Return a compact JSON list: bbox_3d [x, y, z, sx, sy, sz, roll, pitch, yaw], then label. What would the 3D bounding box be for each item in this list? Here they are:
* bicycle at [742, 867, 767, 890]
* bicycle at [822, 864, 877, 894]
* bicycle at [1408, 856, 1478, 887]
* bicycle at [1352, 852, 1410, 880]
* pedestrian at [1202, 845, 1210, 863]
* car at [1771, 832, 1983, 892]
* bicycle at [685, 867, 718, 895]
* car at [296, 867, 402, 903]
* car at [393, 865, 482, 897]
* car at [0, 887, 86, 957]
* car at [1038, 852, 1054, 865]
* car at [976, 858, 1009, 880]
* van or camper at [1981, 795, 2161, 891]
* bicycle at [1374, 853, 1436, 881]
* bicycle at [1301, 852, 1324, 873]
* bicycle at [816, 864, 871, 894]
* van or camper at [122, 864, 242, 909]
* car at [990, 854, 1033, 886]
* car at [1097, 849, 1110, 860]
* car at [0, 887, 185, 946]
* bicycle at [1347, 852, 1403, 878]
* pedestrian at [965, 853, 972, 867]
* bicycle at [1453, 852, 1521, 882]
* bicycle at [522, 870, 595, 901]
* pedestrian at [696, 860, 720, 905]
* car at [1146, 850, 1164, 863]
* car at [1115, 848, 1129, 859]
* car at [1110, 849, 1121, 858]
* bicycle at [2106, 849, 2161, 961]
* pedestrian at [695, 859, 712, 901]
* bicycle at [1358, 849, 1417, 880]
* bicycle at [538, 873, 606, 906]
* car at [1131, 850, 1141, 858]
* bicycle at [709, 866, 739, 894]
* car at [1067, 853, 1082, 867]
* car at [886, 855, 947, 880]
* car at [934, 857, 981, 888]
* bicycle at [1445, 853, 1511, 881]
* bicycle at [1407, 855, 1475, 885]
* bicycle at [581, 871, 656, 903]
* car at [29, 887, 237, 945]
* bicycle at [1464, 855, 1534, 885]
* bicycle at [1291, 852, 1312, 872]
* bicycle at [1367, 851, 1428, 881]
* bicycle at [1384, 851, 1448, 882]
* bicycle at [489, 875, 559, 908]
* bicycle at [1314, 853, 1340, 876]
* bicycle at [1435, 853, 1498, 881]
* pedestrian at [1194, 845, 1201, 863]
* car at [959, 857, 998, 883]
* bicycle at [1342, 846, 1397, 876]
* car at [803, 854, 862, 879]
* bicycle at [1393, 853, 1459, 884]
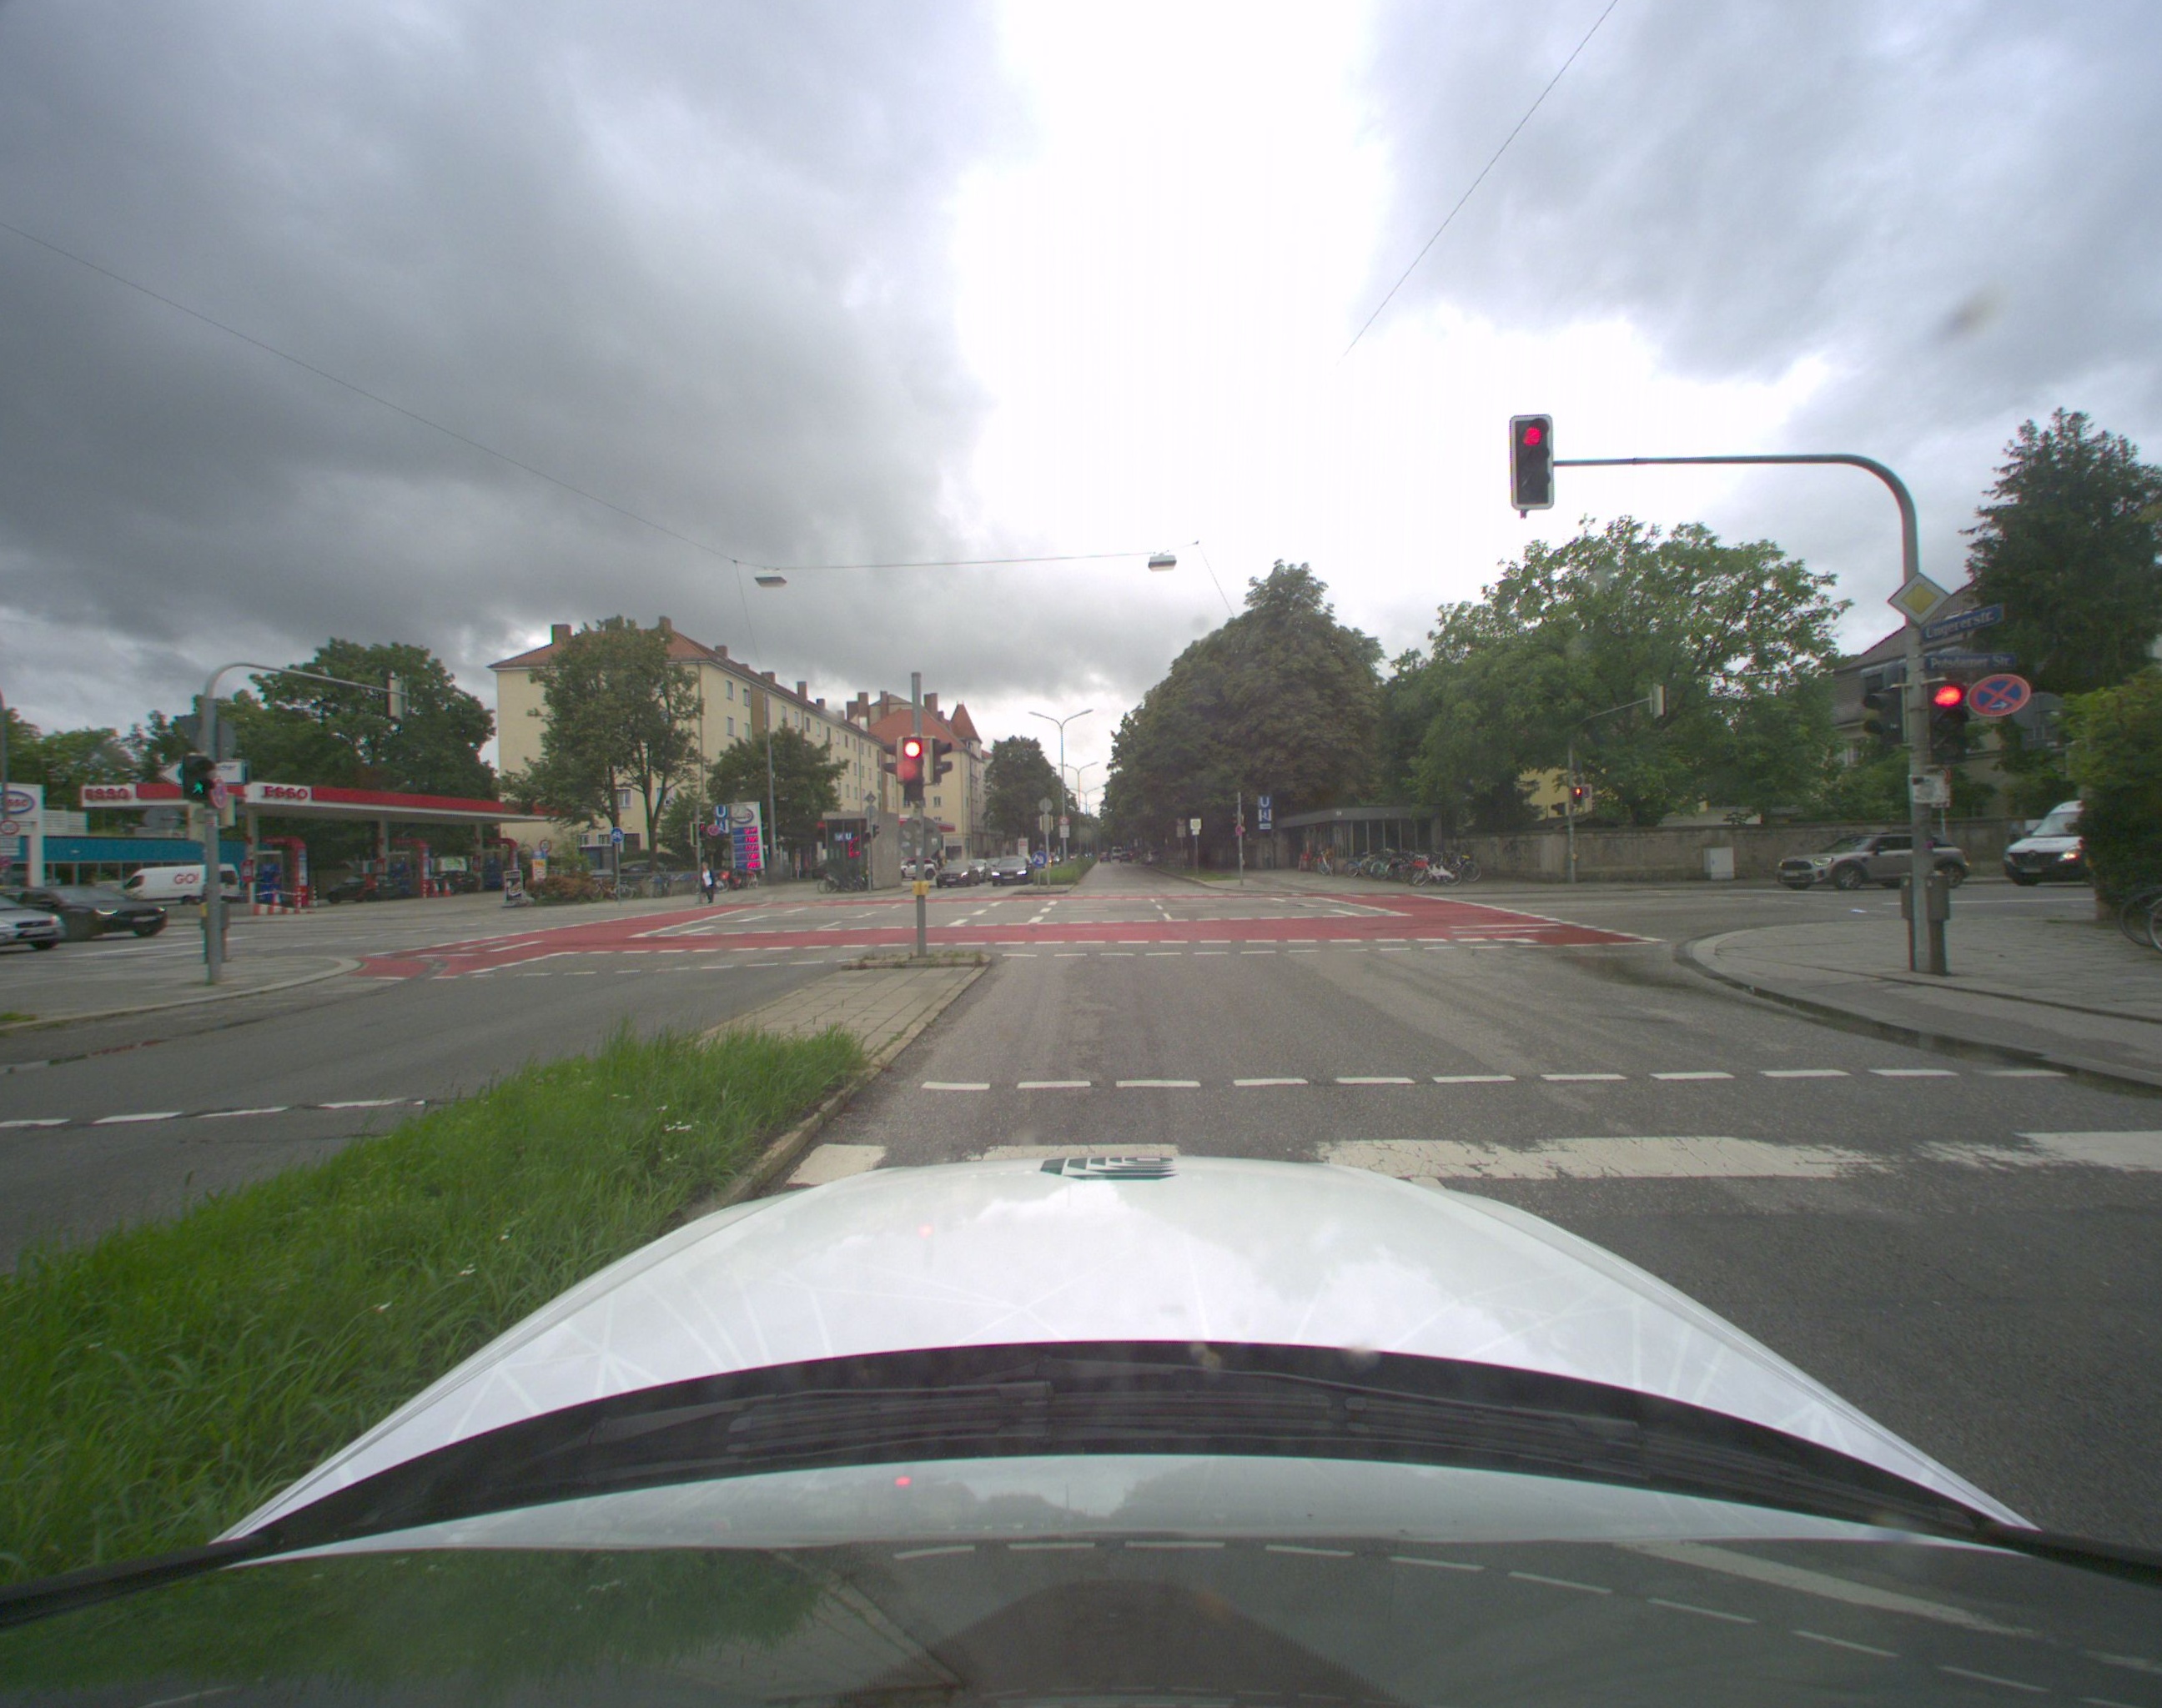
[{"bbox_3d":[-17.174,1.260,42.900,0.607,1.145,1.962,-2,0,-4],"label":"bicycle"},{"bbox_3d":[-10.765,1.145,37.892,2.275,1.304,0.694,-2,0,2],"label":"bicycle"},{"bbox_3d":[12.685,0.598,28.588,2.130,1.014,0.604,-2,0,9],"label":"bicycle"},{"bbox_3d":[12.355,0.486,33.568,2.130,1.062,0.604,-2,0,9],"label":"bicycle"},{"bbox_3d":[12.028,-0.033,78.462,0.674,1.682,0.684,-2,0,8],"label":"pedestrian"},{"bbox_3d":[22.323,0.228,22.966,4.149,1.514,1.697,-2,0,4],"label":"car"},{"bbox_3d":[-17.650,1.248,37.934,0.607,1.236,2.183,-2,0,-4],"label":"bicycle"},{"bbox_3d":[-39.455,1.651,43.974,3.973,1.784,1.858,-2,0,1],"label":"car"},{"bbox_3d":[-39.953,1.661,50.604,3.973,1.784,1.858,-2,0,1],"label":"car"},{"bbox_3d":[-26.376,1.635,19.228,3.609,1.517,1.663,-2,0,-1],"label":"car"},{"bbox_3d":[-4.652,0.567,108.664,1.870,1.668,4.000,-2,0,0],"label":"car"},{"bbox_3d":[-6.199,1.028,57.521,1.753,1.460,4.001,-2,0,1],"label":"car"},{"bbox_3d":[28.761,-0.334,22.364,5.528,2.469,2.069,-2,0,3],"label":"van or camper"},{"bbox_3d":[12.485,0.504,31.394,2.130,1.014,0.604,-2,0,9],"label":"bicycle"},{"bbox_3d":[11.480,0.396,40.443,0.555,1.014,2.015,-2,0,0],"label":"bicycle"},{"bbox_3d":[-10.815,1.133,37.113,2.262,1.304,0.704,-2,0,2],"label":"bicycle"},{"bbox_3d":[-51.633,1.834,46.823,4.526,2.323,1.917,-2,0,-3],"label":"van or camper"},{"bbox_3d":[-3.580,0.803,42.550,1.753,1.493,4.001,-2,0,1],"label":"car"},{"bbox_3d":[3.374,0.078,122.311,1.850,1.684,4.001,-2,0,1],"label":"car"},{"bbox_3d":[-27.458,1.710,22.564,3.531,1.412,1.666,-2,0,4],"label":"car"},{"bbox_3d":[12.411,0.458,34.449,2.130,1.014,0.604,-2,0,9],"label":"bicycle"},{"bbox_3d":[-13.681,0.710,99.302,0.693,1.638,0.738,-2,0,2],"label":"pedestrian"},{"bbox_3d":[15.070,0.484,30.257,2.130,1.014,0.636,-2,0,9],"label":"bicycle"},{"bbox_3d":[-21.688,1.281,33.835,2.393,1.251,0.789,0,-1,-9],"label":"bicycle"},{"bbox_3d":[-14.441,1.093,31.545,0.530,1.695,0.579,-2,0,12],"label":"pedestrian"},{"bbox_3d":[8.274,0.301,91.431,1.736,1.363,3.808,-2,0,1],"label":"car"},{"bbox_3d":[6.062,-0.030,121.086,1.915,1.684,4.002,0,0,2],"label":"car"},{"bbox_3d":[6.911,-0.100,163.068,1.986,1.756,4.001,-2,0,1],"label":"car"},{"bbox_3d":[11.184,0.504,7.701,0.597,1.121,1.890,-2,-1,2],"label":"bicycle"},{"bbox_3d":[-15.826,1.076,34.152,0.593,1.695,0.572,-2,0,-29],"label":"pedestrian"},{"bbox_3d":[12.360,0.425,32.866,2.130,1.178,0.604,-2,0,9],"label":"bicycle"},{"bbox_3d":[-20.703,1.442,33.172,2.180,1.236,0.763,-2,0,-10],"label":"bicycle"},{"bbox_3d":[10.814,-0.030,161.198,1.736,1.427,3.900,-2,0,1],"label":"car"},{"bbox_3d":[-16.967,1.228,38.746,0.607,1.236,2.183,-2,0,-4],"label":"bicycle"},{"bbox_3d":[-0.706,0.623,87.703,1.462,1.399,3.701,-2,0,2],"label":"car"},{"bbox_3d":[-11.553,0.959,57.337,1.793,1.608,3.993,-2,0,39],"label":"car"},{"bbox_3d":[-6.556,0.957,43.728,1.753,1.460,4.001,-2,0,1],"label":"car"},{"bbox_3d":[15.101,0.489,31.024,2.130,1.014,0.636,-2,0,9],"label":"bicycle"},{"bbox_3d":[12.904,0.581,29.208,2.130,1.014,0.636,-2,0,9],"label":"bicycle"},{"bbox_3d":[-19.392,1.366,34.223,2.720,1.251,0.786,0,-1,-29],"label":"bicycle"},{"bbox_3d":[-30.772,1.992,26.519,4.747,1.647,1.786,-2,0,2],"label":"car"},{"bbox_3d":[15.098,0.580,29.458,2.130,1.014,0.636,-2,0,9],"label":"bicycle"},{"bbox_3d":[11.887,0.418,43.870,0.555,1.014,2.015,-2,0,0],"label":"bicycle"},{"bbox_3d":[12.468,0.469,32.125,2.130,1.086,0.604,-2,0,9],"label":"bicycle"},{"bbox_3d":[12.590,0.482,30.677,2.130,1.101,0.604,-2,0,9],"label":"bicycle"},{"bbox_3d":[-22.637,1.513,33.129,2.178,1.236,0.764,-2,0,-8],"label":"bicycle"},{"bbox_3d":[11.373,0.486,37.711,0.555,1.014,2.015,-2,0,0],"label":"bicycle"},{"bbox_3d":[15.046,0.491,31.820,2.130,1.014,0.636,-2,0,9],"label":"bicycle"},{"bbox_3d":[11.209,-0.032,78.285,0.674,1.682,0.684,-2,0,8],"label":"pedestrian"},{"bbox_3d":[-6.367,0.985,50.964,1.753,1.460,4.001,-2,0,1],"label":"car"},{"bbox_3d":[12.431,0.295,35.168,2.130,1.218,0.604,-2,0,9],"label":"bicycle"},{"bbox_3d":[-19.630,1.000,64.446,3.975,1.838,1.880,-2,0,-1],"label":"car"},{"bbox_3d":[12.708,0.527,30.018,2.130,1.071,0.604,-2,0,9],"label":"bicycle"}]
